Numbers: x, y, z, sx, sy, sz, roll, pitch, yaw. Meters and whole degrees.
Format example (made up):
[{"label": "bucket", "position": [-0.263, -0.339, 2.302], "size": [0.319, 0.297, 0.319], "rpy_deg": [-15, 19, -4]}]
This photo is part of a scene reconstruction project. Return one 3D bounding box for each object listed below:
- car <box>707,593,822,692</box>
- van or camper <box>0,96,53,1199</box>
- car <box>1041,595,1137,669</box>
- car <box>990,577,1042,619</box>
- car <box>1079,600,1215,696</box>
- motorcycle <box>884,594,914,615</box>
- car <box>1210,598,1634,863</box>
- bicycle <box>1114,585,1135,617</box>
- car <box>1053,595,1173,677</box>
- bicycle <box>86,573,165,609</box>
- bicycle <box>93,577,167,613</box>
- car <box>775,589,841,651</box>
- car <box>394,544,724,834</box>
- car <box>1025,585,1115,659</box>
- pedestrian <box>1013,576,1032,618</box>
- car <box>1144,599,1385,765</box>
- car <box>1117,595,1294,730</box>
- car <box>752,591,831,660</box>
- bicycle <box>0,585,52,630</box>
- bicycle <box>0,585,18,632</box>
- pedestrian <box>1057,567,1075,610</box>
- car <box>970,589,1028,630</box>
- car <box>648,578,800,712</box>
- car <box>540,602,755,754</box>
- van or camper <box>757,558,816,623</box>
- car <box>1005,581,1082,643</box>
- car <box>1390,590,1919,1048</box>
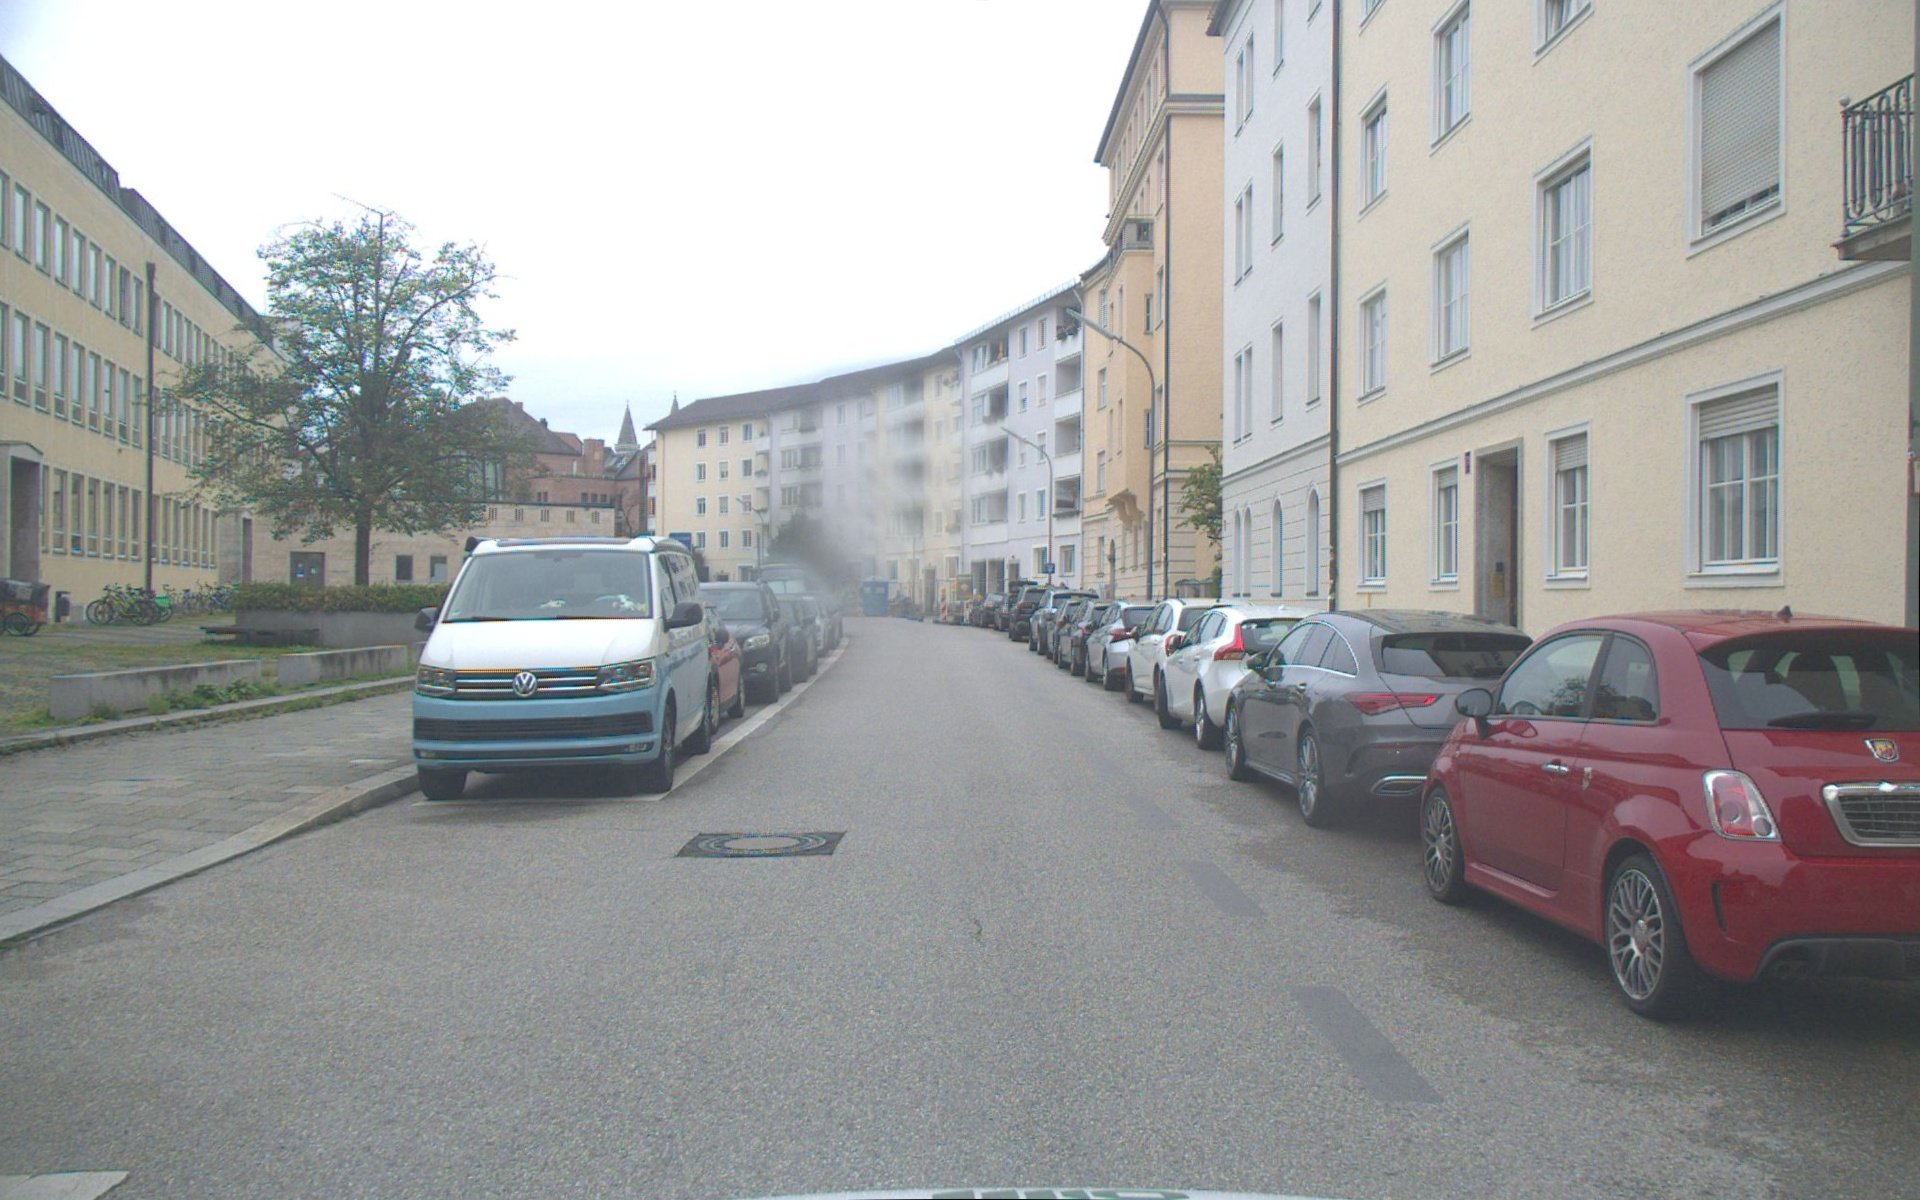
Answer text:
[{"label": "car", "position": [-3.395, 0.687, 29.277], "size": [1.598, 1.520, 3.819], "rpy_deg": [-1, 1, -1]}, {"label": "van or camper", "position": [-3.230, 0.329, 0.944], "size": [2.245, 2.697, 5.562], "rpy_deg": [-1, 1, 1]}, {"label": "car", "position": [2.913, 0.700, 38.220], "size": [1.790, 1.475, 4.084], "rpy_deg": [2, 1, -1]}, {"label": "car", "position": [2.128, -0.104, 63.533], "size": [1.599, 1.442, 3.677], "rpy_deg": [2, 1, -4]}, {"label": "car", "position": [3.112, 0.765, 28.278], "size": [1.690, 1.475, 4.185], "rpy_deg": [0, 0, -3]}, {"label": "motorcycle", "position": [-3.781, 0.283, 102.046], "size": [0.920, 1.242, 2.488], "rpy_deg": [1, 1, -25]}, {"label": "car", "position": [3.171, 0.796, 12.404], "size": [1.737, 1.454, 4.614], "rpy_deg": [2, 1, -2]}, {"label": "bicycle", "position": [5.749, 0.028, 57.892], "size": [0.491, 1.067, 2.138], "rpy_deg": [-2, 1, 0]}, {"label": "car", "position": [2.972, 0.664, 33.062], "size": [1.838, 1.475, 4.676], "rpy_deg": [0, 0, -2]}, {"label": "bicycle", "position": [-23.771, -0.253, 47.128], "size": [1.918, 0.961, 0.413], "rpy_deg": [2, 1, -14]}, {"label": "bicycle", "position": [-23.998, -0.149, 47.843], "size": [1.830, 0.961, 0.412], "rpy_deg": [2, 1, -20]}, {"label": "car", "position": [-4.141, 0.517, 45.590], "size": [1.598, 1.520, 4.273], "rpy_deg": [-1, 1, -3]}, {"label": "car", "position": [-3.157, 0.565, 14.050], "size": [1.877, 1.994, 4.958], "rpy_deg": [1, 1, -4]}, {"label": "car", "position": [2.807, 0.530, 43.079], "size": [1.809, 1.692, 4.497], "rpy_deg": [2, 1, -2]}, {"label": "pedestrian", "position": [2.315, -0.119, 61.624], "size": [0.616, 1.555, 0.578], "rpy_deg": [2, 1, -2]}, {"label": "car", "position": [3.194, 0.796, 18.184], "size": [1.690, 1.454, 4.293], "rpy_deg": [2, 1, -2]}, {"label": "car", "position": [3.294, 0.788, 22.914], "size": [1.618, 1.570, 3.991], "rpy_deg": [2, 1, -3]}, {"label": "car", "position": [-4.062, 0.576, 40.389], "size": [1.706, 1.447, 4.292], "rpy_deg": [2, 1, -4]}, {"label": "bicycle", "position": [-21.239, 0.160, 36.980], "size": [1.583, 0.961, 0.499], "rpy_deg": [2, 1, -25]}, {"label": "bicycle", "position": [-20.718, 0.149, 34.662], "size": [1.580, 0.961, 0.500], "rpy_deg": [2, 1, -20]}, {"label": "pedestrian", "position": [4.349, -0.468, 68.121], "size": [0.605, 1.719, 0.919], "rpy_deg": [-2, 1, -1]}, {"label": "car", "position": [1.601, 0.360, 69.799], "size": [1.871, 1.503, 4.942], "rpy_deg": [2, 1, -5]}, {"label": "car", "position": [-3.362, 0.577, 24.236], "size": [1.680, 1.719, 4.140], "rpy_deg": [-1, 1, -1]}, {"label": "car", "position": [-3.444, 0.807, 18.893], "size": [1.768, 1.431, 3.709], "rpy_deg": [-1, 1, -1]}, {"label": "van or camper", "position": [-7.461, -0.407, 70.628], "size": [2.254, 2.626, 6.073], "rpy_deg": [0, 0, -9]}, {"label": "car", "position": [2.635, 0.328, 53.339], "size": [2.126, 1.769, 5.023], "rpy_deg": [2, 1, -1]}, {"label": "car", "position": [3.312, 0.747, 7.473], "size": [1.621, 1.454, 3.755], "rpy_deg": [2, 1, -2]}]
